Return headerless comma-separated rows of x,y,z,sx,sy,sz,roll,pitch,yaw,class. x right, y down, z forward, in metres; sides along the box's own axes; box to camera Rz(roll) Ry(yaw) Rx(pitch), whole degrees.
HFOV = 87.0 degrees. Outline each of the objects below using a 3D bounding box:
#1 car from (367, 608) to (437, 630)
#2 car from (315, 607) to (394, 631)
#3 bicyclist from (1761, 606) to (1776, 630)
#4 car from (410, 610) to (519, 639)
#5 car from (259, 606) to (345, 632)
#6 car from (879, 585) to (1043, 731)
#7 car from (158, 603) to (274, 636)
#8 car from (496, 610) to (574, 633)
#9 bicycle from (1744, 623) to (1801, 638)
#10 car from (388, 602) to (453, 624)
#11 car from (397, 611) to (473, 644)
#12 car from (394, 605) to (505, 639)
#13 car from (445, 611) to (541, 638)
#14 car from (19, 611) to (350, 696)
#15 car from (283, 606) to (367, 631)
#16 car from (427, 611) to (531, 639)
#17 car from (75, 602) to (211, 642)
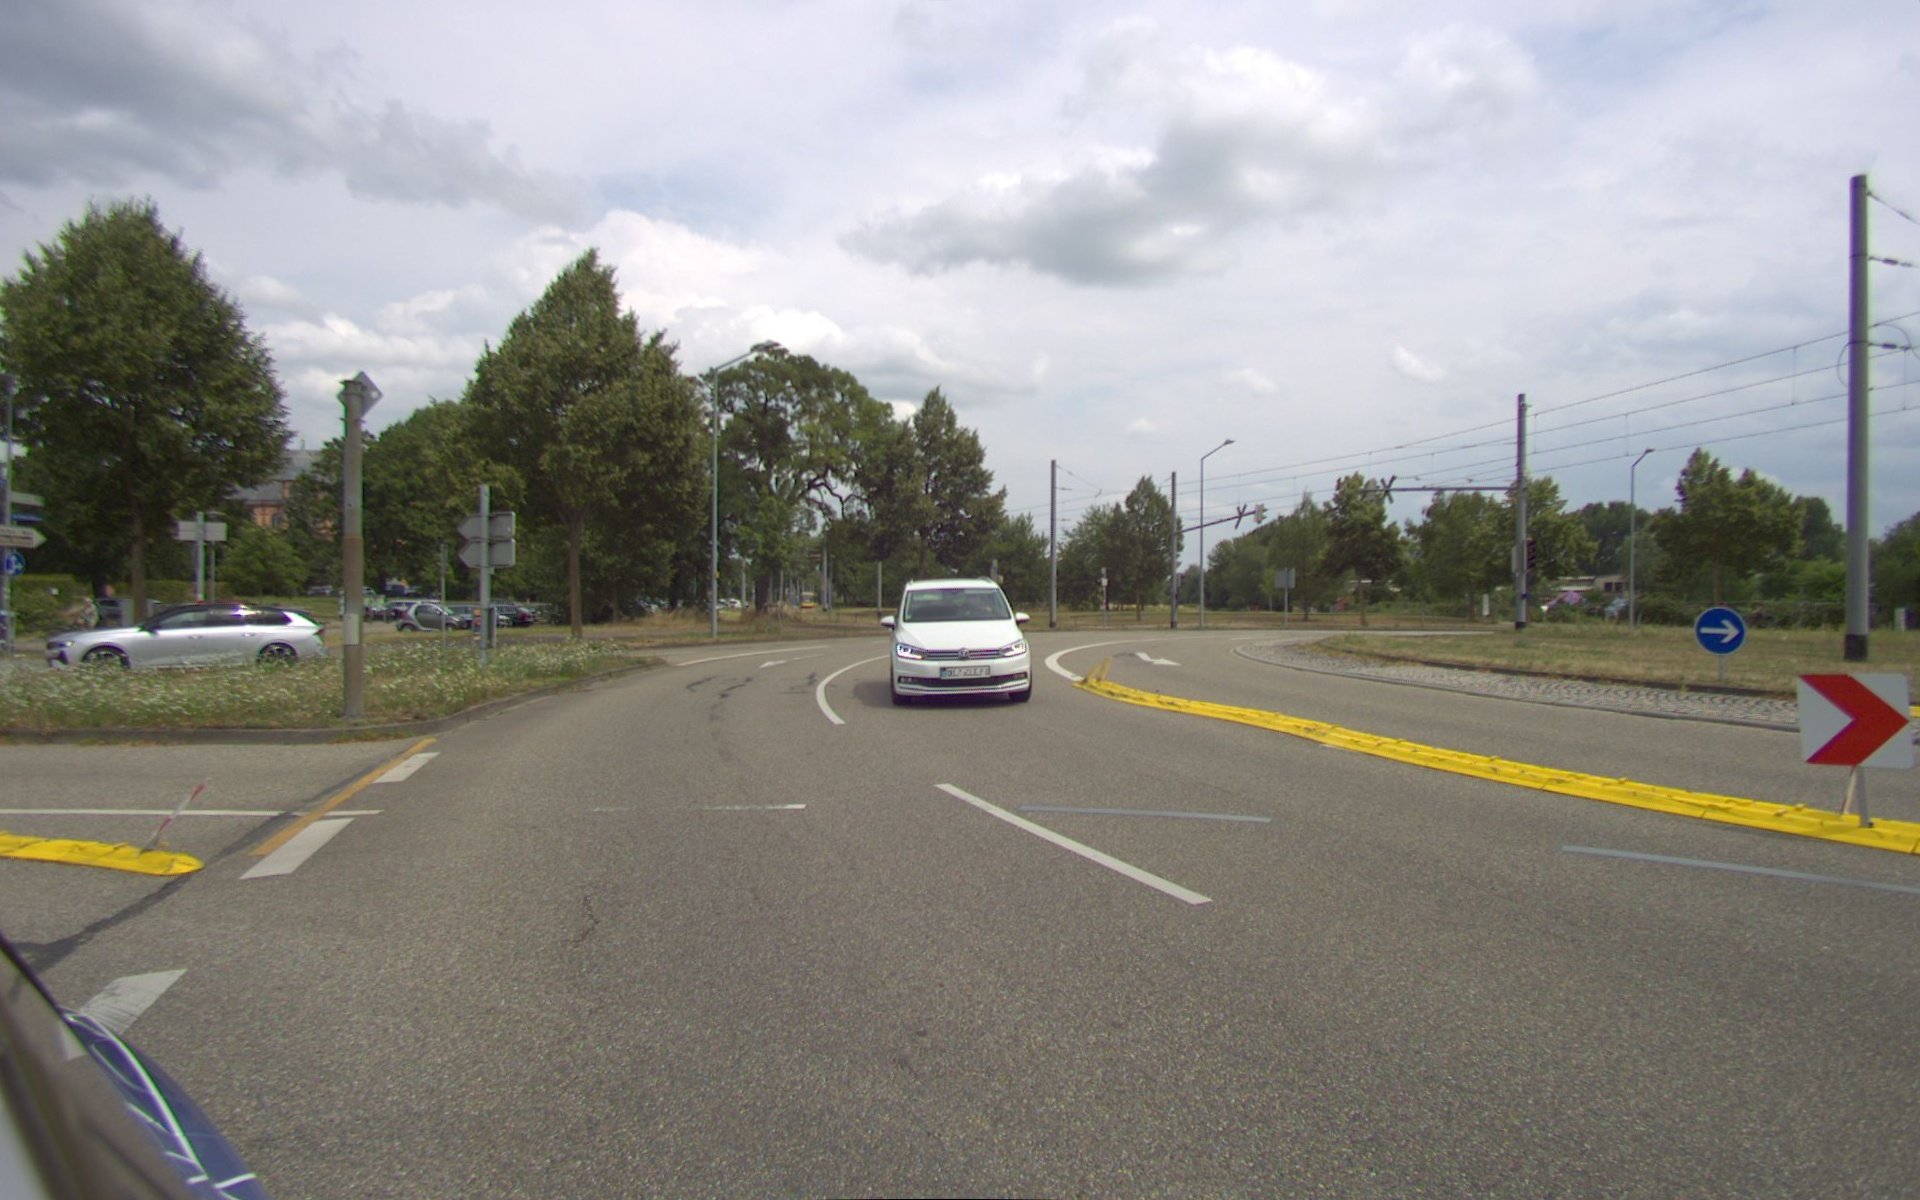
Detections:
-39.320,1.331,71.401,3.945,1.479,1.820,0,0,-6,car
-38.810,1.220,64.966,3.945,1.479,1.820,0,0,-6,car
48.860,1.101,61.152,0.673,1.420,0.853,0,-1,38,bicyclist
-26.101,1.277,53.437,4.814,1.482,1.835,0,0,-5,car
-38.295,1.103,58.966,3.945,1.479,1.617,0,0,-6,car
-0.095,0.659,14.167,1.910,1.678,4.358,-1,1,-3,car
-37.488,0.979,51.073,4.341,1.610,2.002,0,0,-4,car
-27.476,1.382,65.507,4.320,1.482,1.835,0,0,-5,car
48.980,1.828,61.044,2.655,0.861,0.853,0,0,38,bicycle
-40.486,0.967,76.017,3.945,1.586,1.820,0,-1,-6,car
-24.968,1.309,48.204,2.868,1.434,1.487,-2,-1,-12,car
-25.518,1.080,50.710,4.632,1.482,1.836,-2,0,-8,car
-26.765,1.404,58.085,4.638,1.482,1.835,0,0,-5,car
-15.462,0.976,20.462,5.102,1.493,2.003,0,0,-40,car
-38.293,1.109,61.111,3.945,1.479,1.820,0,0,-6,car
-26.470,1.345,55.819,4.814,1.482,1.835,0,0,-5,car
-36.741,0.972,45.612,4.430,1.777,2.003,0,0,-6,car
